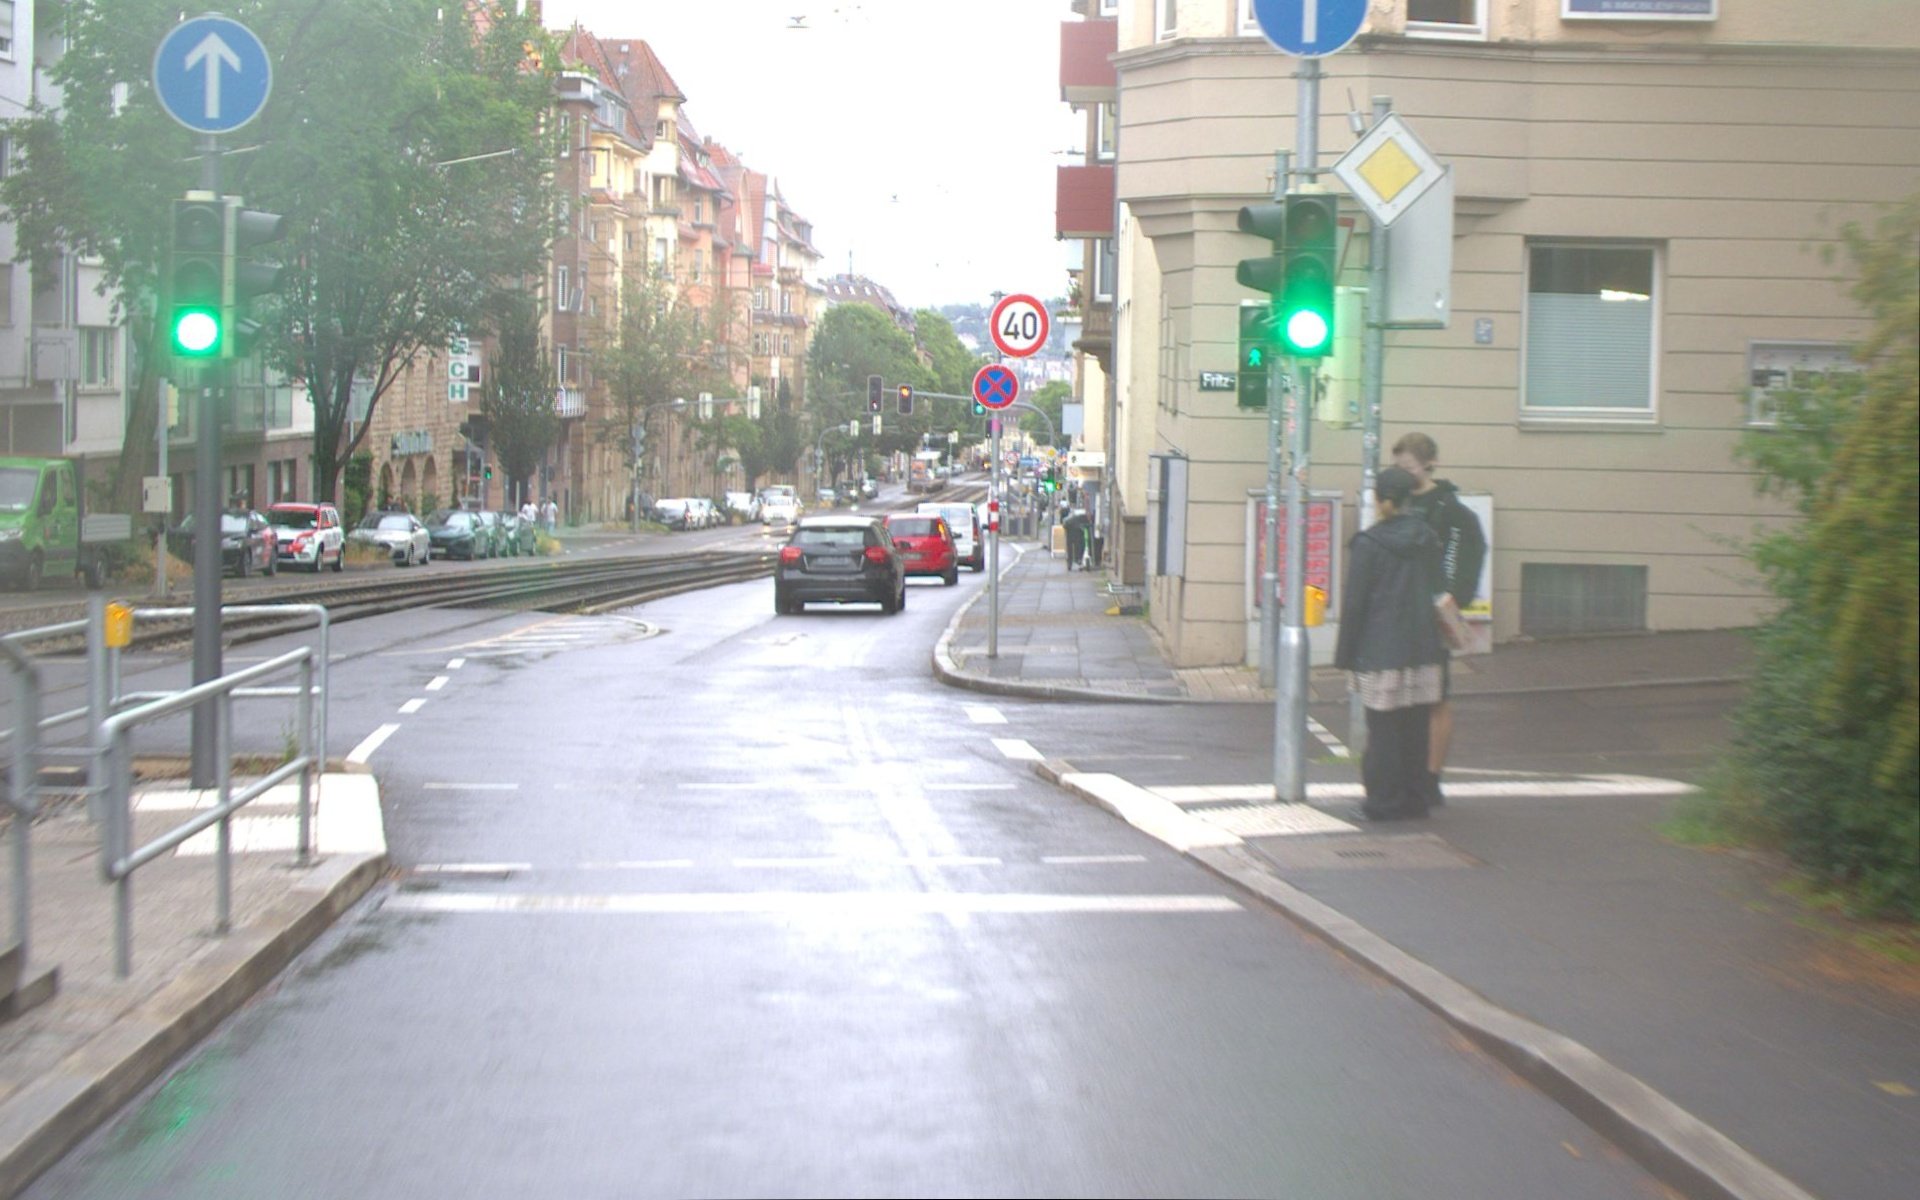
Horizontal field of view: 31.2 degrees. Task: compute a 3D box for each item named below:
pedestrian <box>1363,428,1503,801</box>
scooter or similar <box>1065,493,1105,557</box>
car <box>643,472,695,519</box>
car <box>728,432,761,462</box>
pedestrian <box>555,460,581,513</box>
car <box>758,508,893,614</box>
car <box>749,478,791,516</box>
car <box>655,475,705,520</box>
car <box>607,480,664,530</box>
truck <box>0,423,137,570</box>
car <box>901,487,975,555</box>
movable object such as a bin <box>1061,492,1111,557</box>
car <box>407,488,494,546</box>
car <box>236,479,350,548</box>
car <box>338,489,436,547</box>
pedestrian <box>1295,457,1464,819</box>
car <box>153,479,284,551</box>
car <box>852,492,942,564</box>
[{"bbox_3d":[2.340,0.063,17.054,0.554,1.807,0.651,1,1,-1],"label":"pedestrian"},{"bbox_3d":[3.155,-1.891,86.857,0.918,1.598,0.863,0,2,-3],"label":"scooter or similar"},{"bbox_3d":[-13.246,-4.753,156.661,1.993,2.007,4.347,-1,1,0],"label":"car"},{"bbox_3d":[-14.998,-10.674,239.472,1.993,2.006,4.000,0,2,0],"label":"car"},{"bbox_3d":[-15.098,-4.384,132.404,0.871,2.007,0.704,-1,1,0],"label":"pedestrian"},{"bbox_3d":[-1.957,-0.608,51.075,1.851,1.468,4.000,0,2,0],"label":"car"},{"bbox_3d":[-10.111,-5.499,183.454,1.993,2.006,4.347,0,2,0],"label":"car"},{"bbox_3d":[-13.151,-4.825,161.705,1.993,2.007,4.347,-1,1,0],"label":"car"},{"bbox_3d":[-13.817,-4.036,146.655,1.993,2.007,4.347,-1,1,0],"label":"car"},{"bbox_3d":[-16.191,-1.759,59.245,2.051,2.384,6.320,1,1,4],"label":"truck"},{"bbox_3d":[-0.607,-2.143,93.872,1.948,1.786,4.144,1,1,0],"label":"car"},{"bbox_3d":[3.244,-1.943,88.364,1.167,1.649,1.309,-1,2,-2],"label":"movable object such as a bin"},{"bbox_3d":[-14.870,-2.431,100.512,1.773,1.614,4.255,-1,2,2],"label":"car"},{"bbox_3d":[-15.565,-2.030,80.403,1.773,1.541,4.255,-1,2,1],"label":"car"},{"bbox_3d":[-15.273,-2.182,91.836,1.773,1.483,4.255,-1,1,2],"label":"car"},{"bbox_3d":[1.999,0.175,16.436,0.695,1.689,0.555,1,1,-2],"label":"pedestrian"},{"bbox_3d":[-15.740,-1.805,73.161,1.773,1.448,4.255,-1,1,1],"label":"car"},{"bbox_3d":[-1.338,-1.549,74.169,1.851,1.468,4.000,1,1,0],"label":"car"}]
